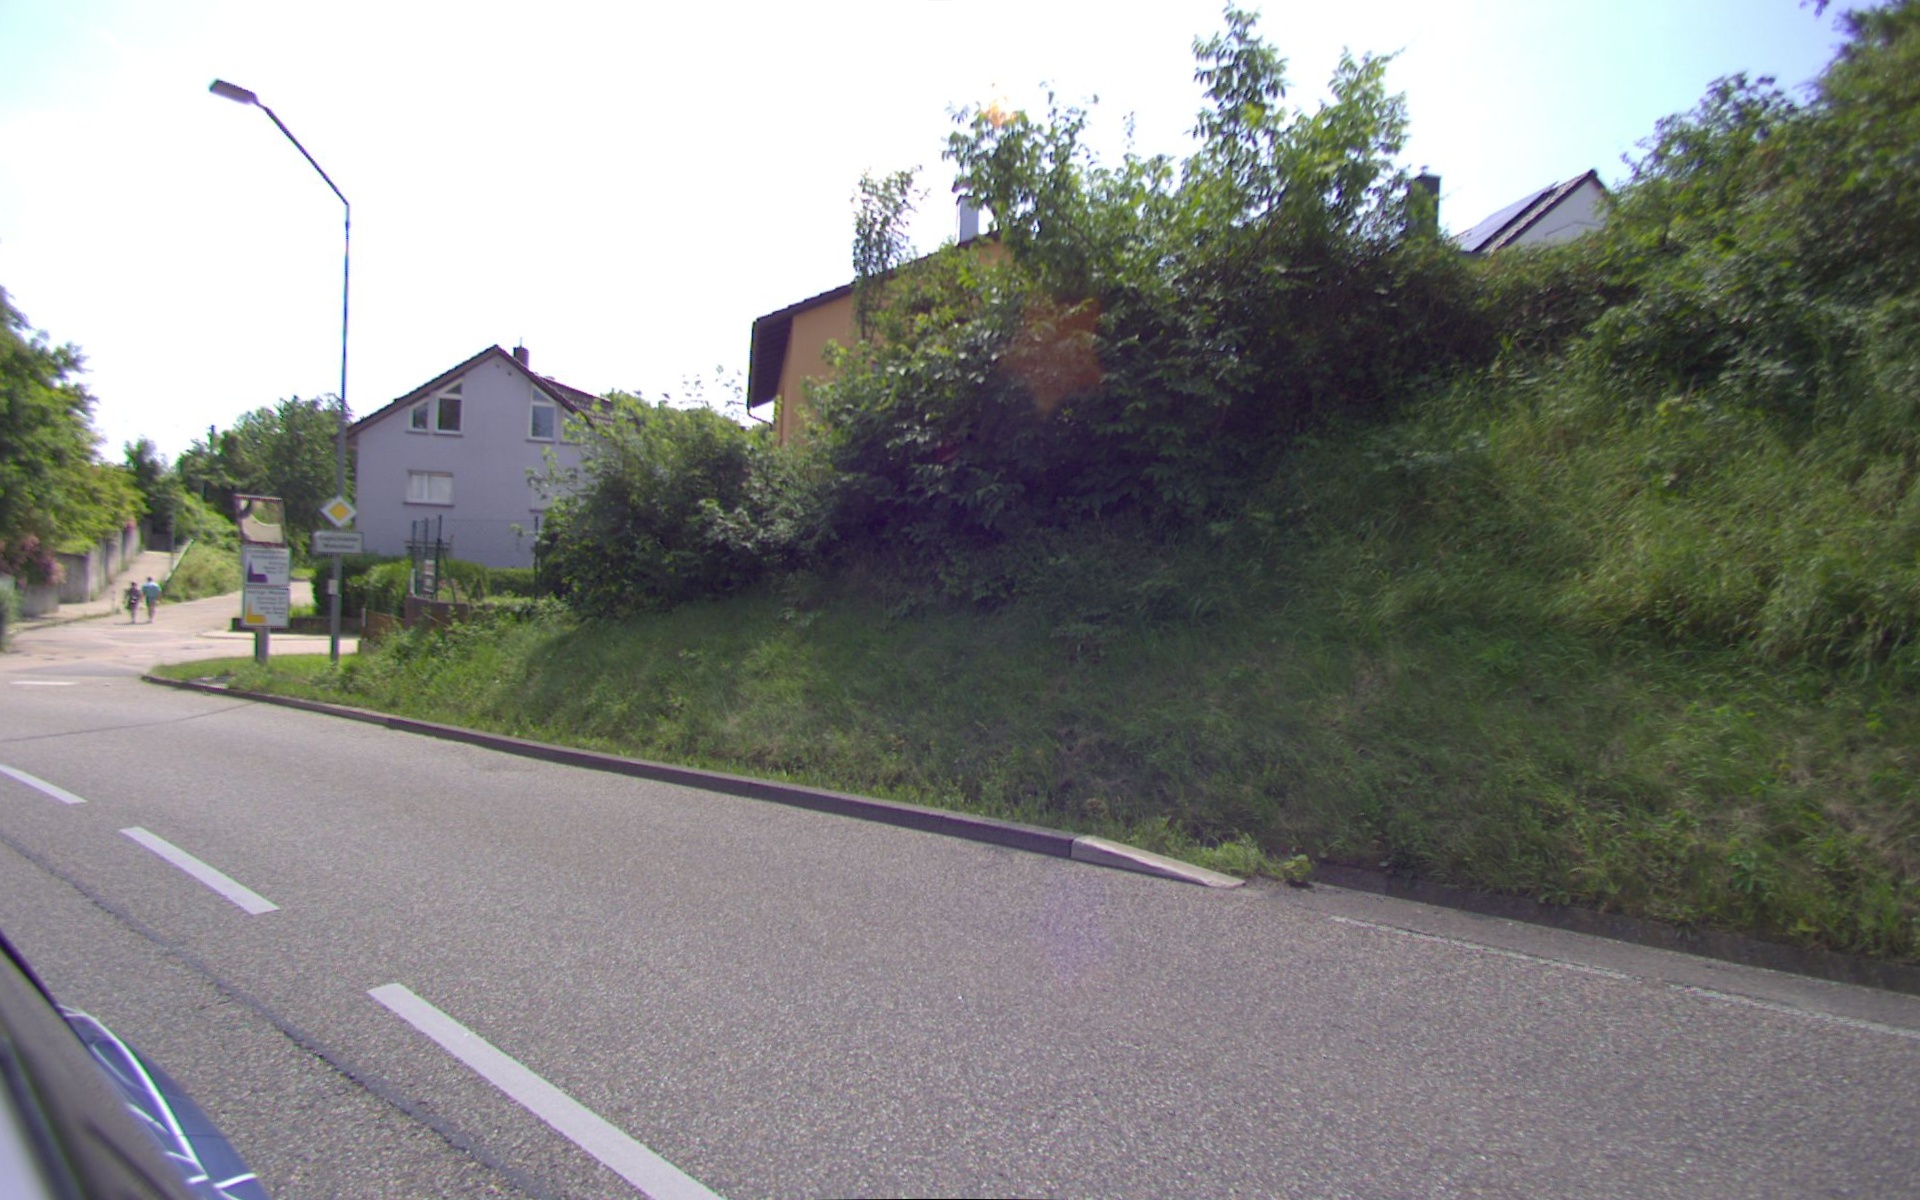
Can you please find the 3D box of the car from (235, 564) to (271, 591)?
[{"bbox_3d":[-46.572,-1.480,66.635,1.826,1.655,4.403,-2,1,-36],"label":"car"}]

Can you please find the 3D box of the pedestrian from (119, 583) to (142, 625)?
[{"bbox_3d":[-31.603,0.135,38.563,0.565,1.566,0.601,-2,2,-34],"label":"pedestrian"}]

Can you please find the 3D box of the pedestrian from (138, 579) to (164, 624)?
[{"bbox_3d":[-31.409,0.056,39.320,0.676,1.725,0.792,-2,2,-34],"label":"pedestrian"}]
